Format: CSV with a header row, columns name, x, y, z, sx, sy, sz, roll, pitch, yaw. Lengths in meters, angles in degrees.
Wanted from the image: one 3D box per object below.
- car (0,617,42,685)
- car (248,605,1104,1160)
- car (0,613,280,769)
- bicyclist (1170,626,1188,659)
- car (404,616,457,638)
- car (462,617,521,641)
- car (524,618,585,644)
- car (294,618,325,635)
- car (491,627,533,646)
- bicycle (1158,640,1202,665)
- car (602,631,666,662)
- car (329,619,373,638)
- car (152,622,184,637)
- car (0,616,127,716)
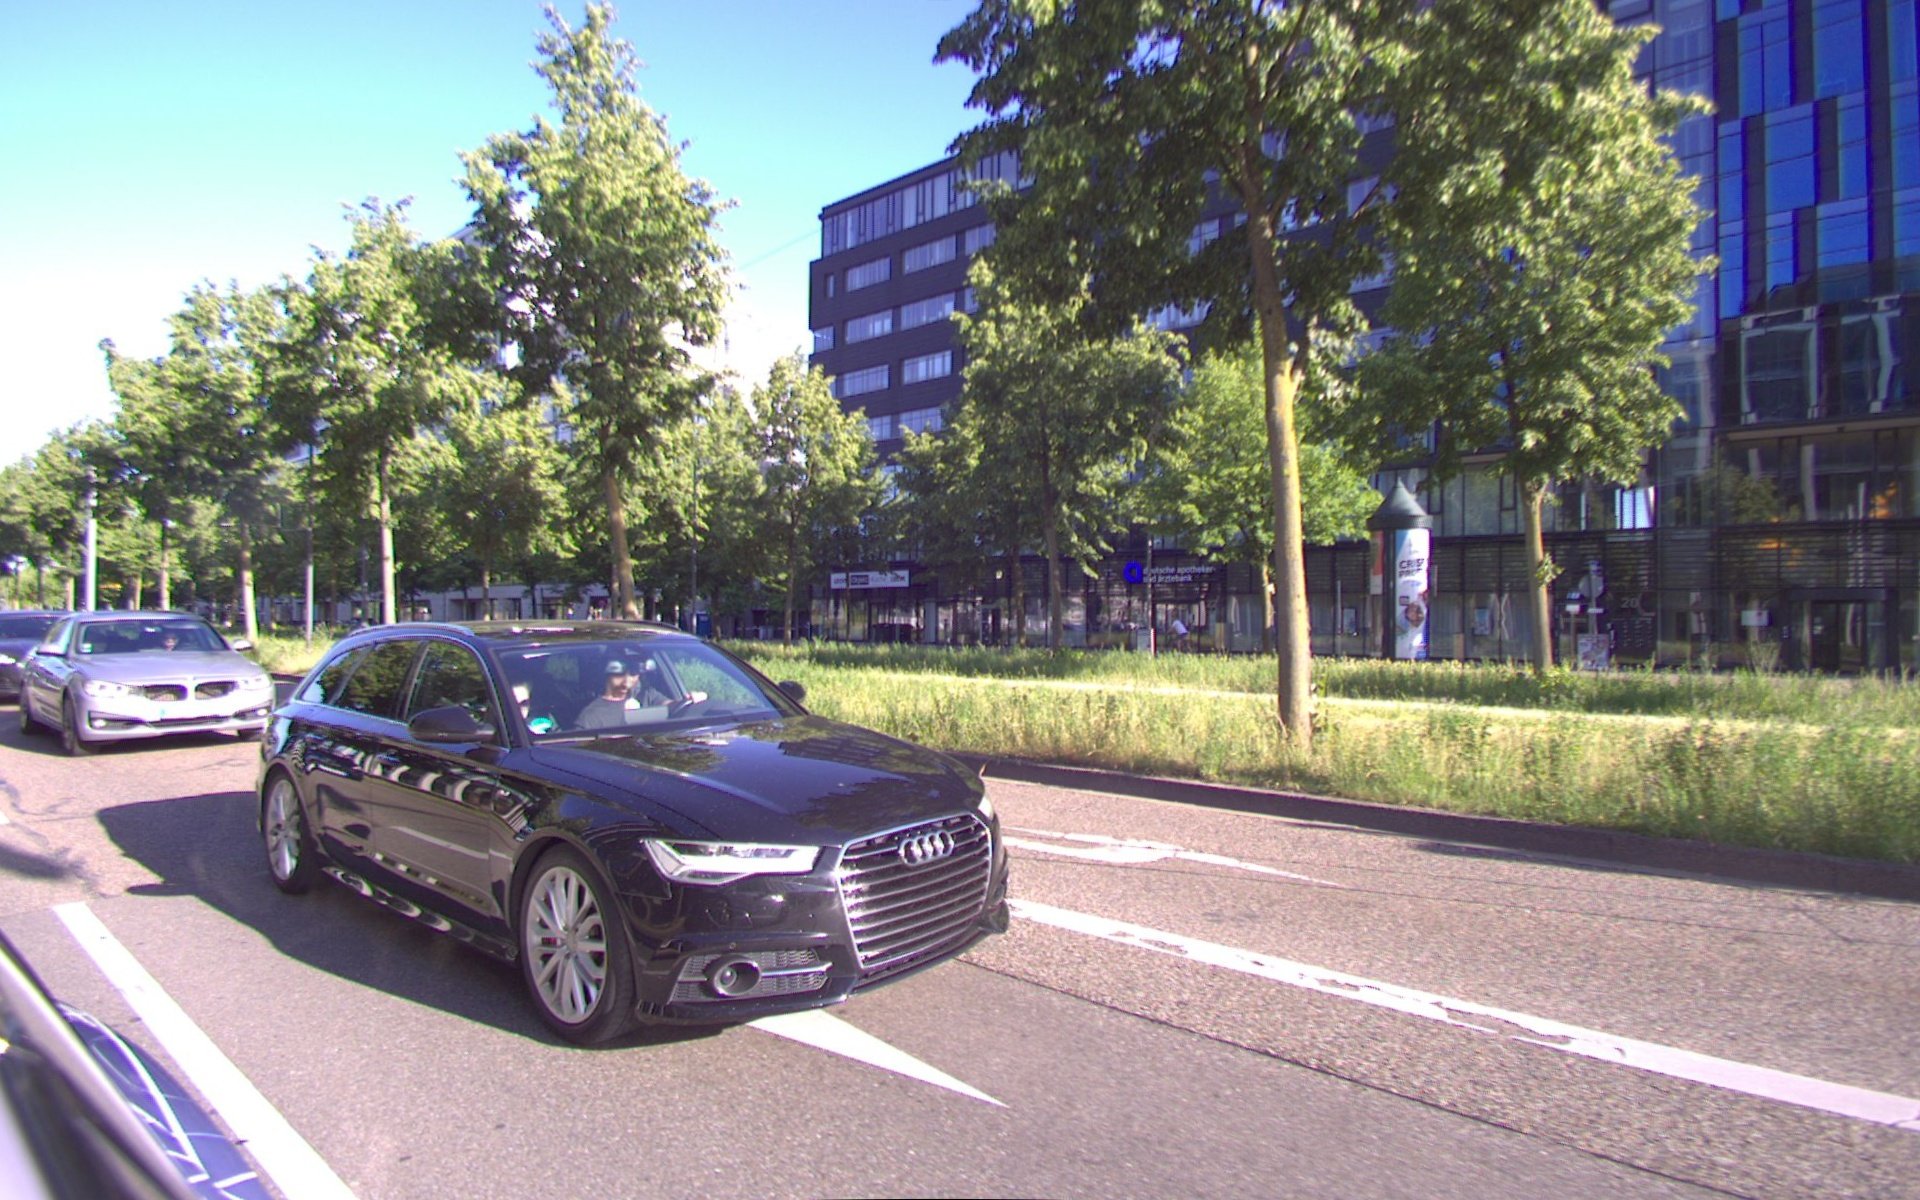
name,x,y,z,sx,sy,sz,roll,pitch,yaw
car,-22.447,1.111,23.085,4.253,1.465,1.789,-1,-2,42
car,-1.698,0.791,4.861,4.506,1.468,1.789,-1,-2,41
car,-9.874,0.922,11.977,4.739,1.500,1.789,-1,-2,40
bicyclist,9.459,1.829,43.666,0.626,1.416,0.487,0,-1,41
car,-42.636,2.155,81.442,4.785,1.712,1.988,-1,-2,38
car,-34.672,2.100,74.858,4.785,1.712,1.988,-1,-2,38
car,-27.261,2.083,67.947,4.790,1.697,1.834,-1,-2,41
car,-64.412,2.615,100.254,3.742,1.682,1.581,-1,-2,41
car,-37.070,3.021,83.712,4.001,1.516,1.733,-1,-2,43
bicycle,9.490,2.255,43.666,1.847,1.041,0.522,0,-1,41
car,-19.645,2.786,60.923,3.998,1.762,1.834,-1,-2,41
car,-55.882,2.630,92.851,4.788,1.712,1.986,-1,-2,40
car,-83.953,3.146,107.273,4.733,1.549,1.834,-1,-2,41
car,-15.748,1.041,17.216,4.027,1.534,1.789,-1,-2,41
